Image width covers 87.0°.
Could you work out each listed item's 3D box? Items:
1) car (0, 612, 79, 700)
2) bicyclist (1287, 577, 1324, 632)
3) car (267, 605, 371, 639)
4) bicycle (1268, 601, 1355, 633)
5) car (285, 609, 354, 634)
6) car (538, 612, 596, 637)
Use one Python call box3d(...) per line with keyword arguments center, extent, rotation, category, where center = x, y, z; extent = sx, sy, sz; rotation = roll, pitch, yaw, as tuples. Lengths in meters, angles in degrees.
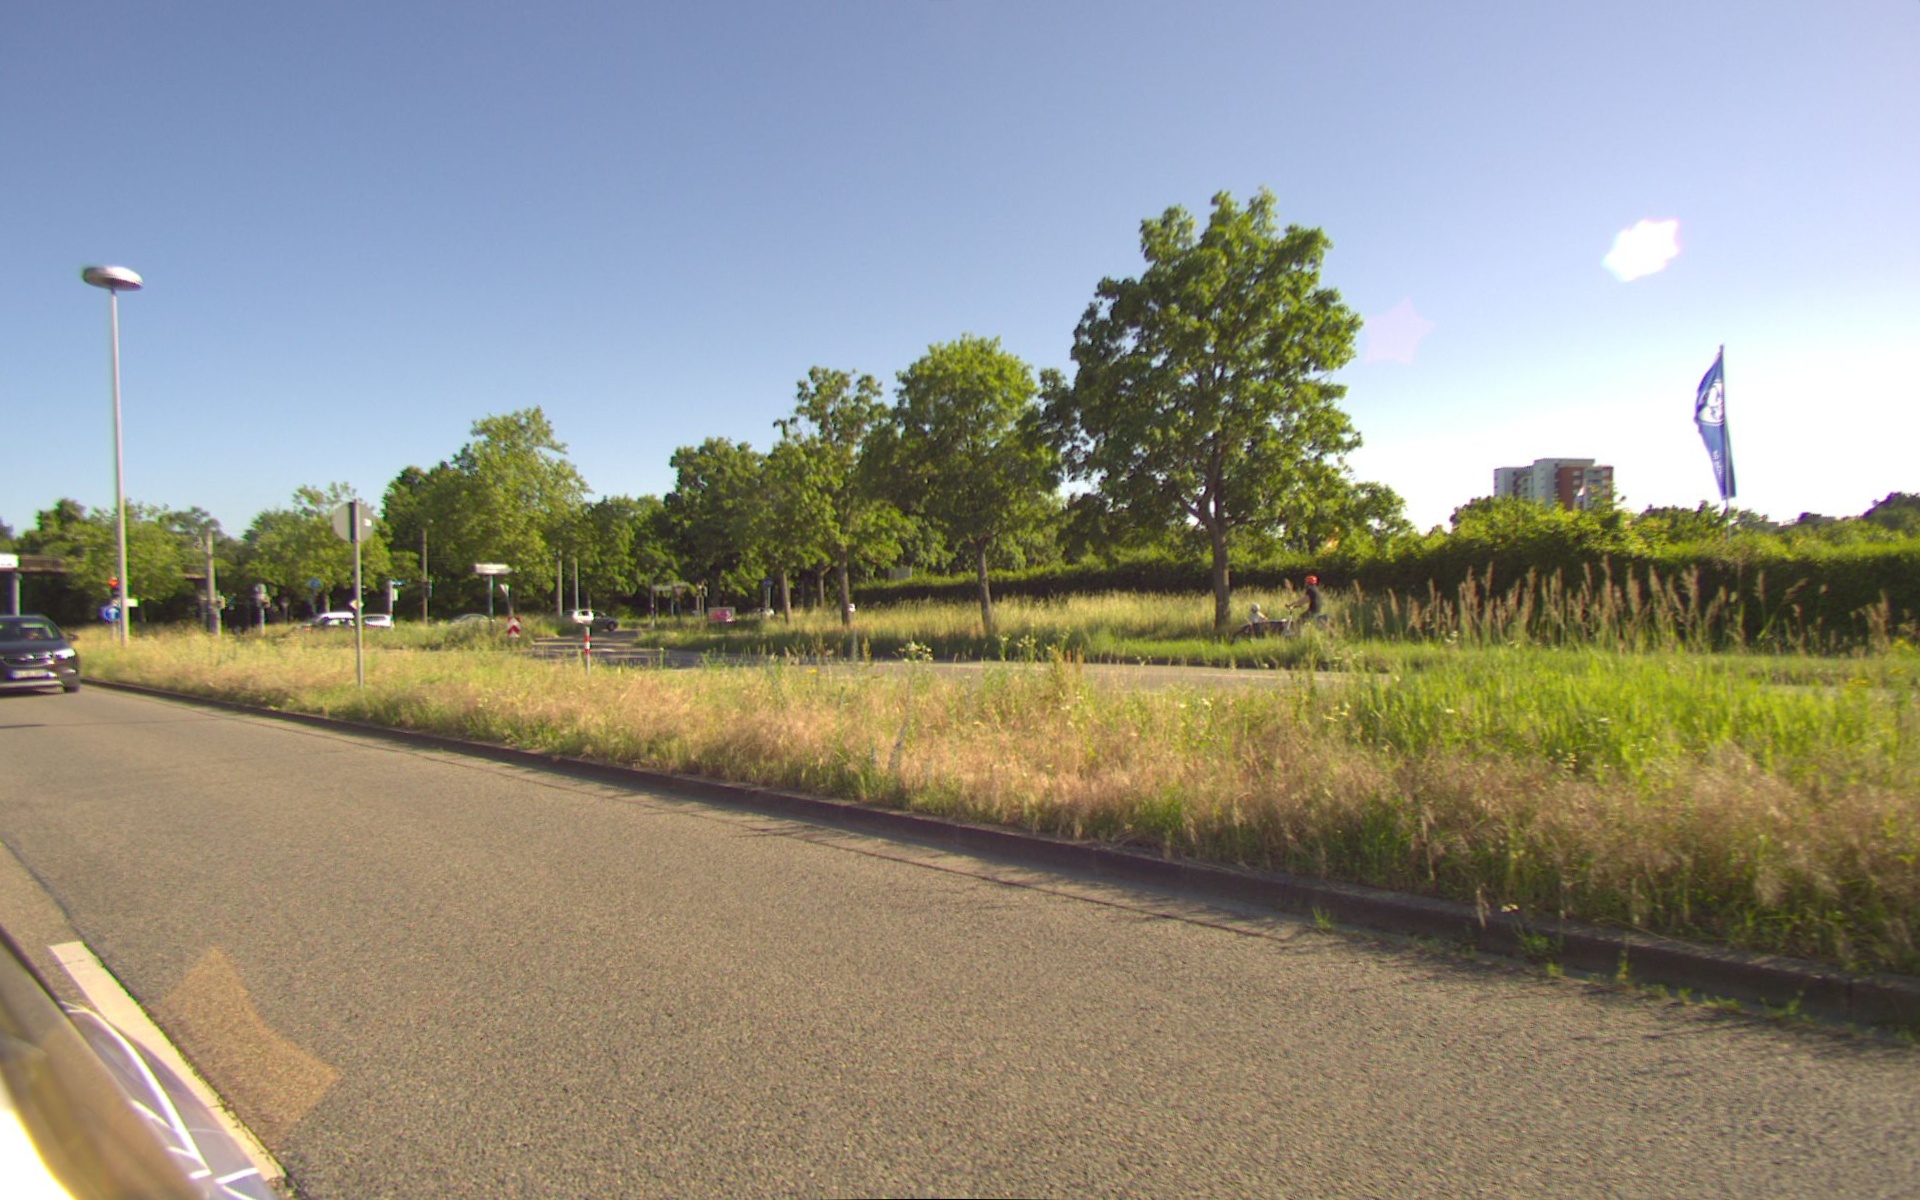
box3d(center=(-19.745, 1.118, 20.995), extent=(3.854, 1.675, 1.692), rotation=(-1, 0, 41), category="car")
box3d(center=(8.150, 0.107, 23.873), extent=(0.576, 1.266, 0.576), rotation=(-2, 0, -42), category="bicyclist")
box3d(center=(-35.342, 1.199, 55.871), extent=(1.778, 1.497, 4.470), rotation=(-4, 0, 40), category="car")
box3d(center=(8.234, 0.396, 23.784), extent=(0.558, 0.700, 1.877), rotation=(-2, 0, -42), category="bicycle")
box3d(center=(-47.458, 1.585, 75.091), extent=(1.772, 1.768, 3.957), rotation=(-1, 0, 32), category="car")
box3d(center=(-26.393, 1.616, 68.086), extent=(1.825, 1.582, 4.378), rotation=(-1, -1, 6), category="car")
